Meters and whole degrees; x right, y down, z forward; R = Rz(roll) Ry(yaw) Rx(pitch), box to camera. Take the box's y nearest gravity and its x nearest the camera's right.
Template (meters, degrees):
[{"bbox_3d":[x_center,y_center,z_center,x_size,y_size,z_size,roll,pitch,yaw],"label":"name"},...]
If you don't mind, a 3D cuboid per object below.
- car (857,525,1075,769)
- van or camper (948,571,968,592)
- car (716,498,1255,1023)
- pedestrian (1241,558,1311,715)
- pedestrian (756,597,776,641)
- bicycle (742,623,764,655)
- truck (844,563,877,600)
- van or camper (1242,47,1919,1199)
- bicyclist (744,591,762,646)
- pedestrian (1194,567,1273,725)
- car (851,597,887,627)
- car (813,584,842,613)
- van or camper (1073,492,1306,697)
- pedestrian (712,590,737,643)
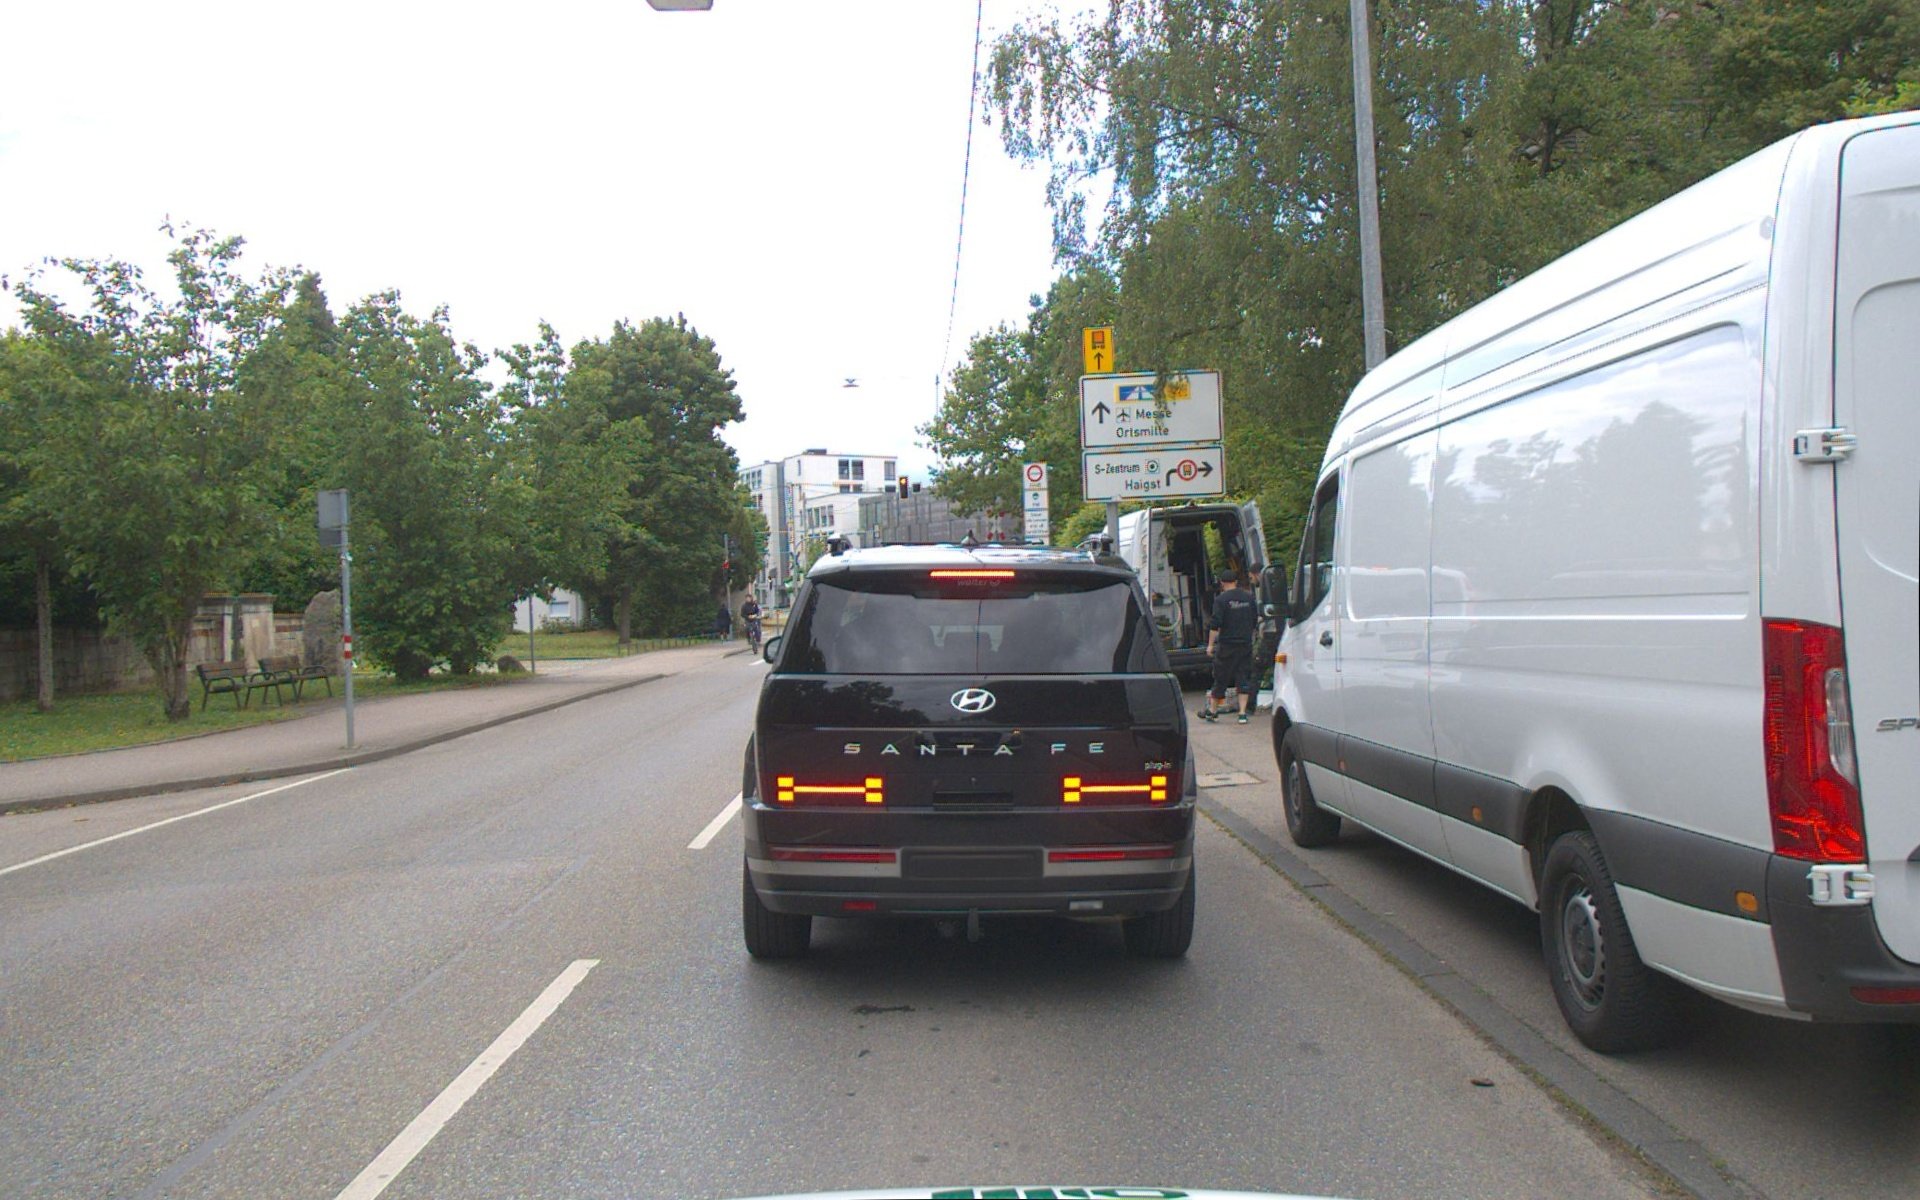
[{"bbox_3d":[0.024,0.414,16.320,1.858,2.077,3.993,1,0,-1],"label":"car"},{"bbox_3d":[-0.182,-1.923,172.495,1.760,2.033,3.820,1,0,-4],"label":"van or camper"},{"bbox_3d":[0.067,0.573,7.785,1.858,1.807,3.993,1,0,-1],"label":"car"},{"bbox_3d":[3.629,0.409,19.029,0.734,1.751,0.792,1,-1,8],"label":"pedestrian"},{"bbox_3d":[-7.901,0.762,67.403,0.751,1.779,0.904,0,0,-2],"label":"pedestrian"},{"bbox_3d":[-6.550,1.225,52.262,0.485,0.981,1.748,1,0,-1],"label":"bicycle"},{"bbox_3d":[-11.293,-2.079,186.965,3.048,3.926,9.607,-2,0,-7],"label":"truck"},{"bbox_3d":[2.873,0.035,7.026,1.951,2.670,6.543,-5,0,-1],"label":"van or camper"},{"bbox_3d":[-6.531,0.573,52.278,0.477,1.713,0.588,1,-1,-1],"label":"bicyclist"},{"bbox_3d":[3.004,0.498,18.206,0.721,1.672,0.802,-3,-1,5],"label":"pedestrian"},{"bbox_3d":[-4.979,0.650,90.651,1.721,1.427,4.413,-4,0,-1],"label":"car"},{"bbox_3d":[-11.545,-0.138,144.007,2.288,2.356,4.950,-2,0,-7],"label":"car"},{"bbox_3d":[3.286,-0.026,25.308,2.294,2.537,6.600,-5,-1,-2],"label":"van or camper"},{"bbox_3d":[-9.326,0.655,65.532,0.812,2.049,1.047,1,0,1],"label":"pedestrian"}]
